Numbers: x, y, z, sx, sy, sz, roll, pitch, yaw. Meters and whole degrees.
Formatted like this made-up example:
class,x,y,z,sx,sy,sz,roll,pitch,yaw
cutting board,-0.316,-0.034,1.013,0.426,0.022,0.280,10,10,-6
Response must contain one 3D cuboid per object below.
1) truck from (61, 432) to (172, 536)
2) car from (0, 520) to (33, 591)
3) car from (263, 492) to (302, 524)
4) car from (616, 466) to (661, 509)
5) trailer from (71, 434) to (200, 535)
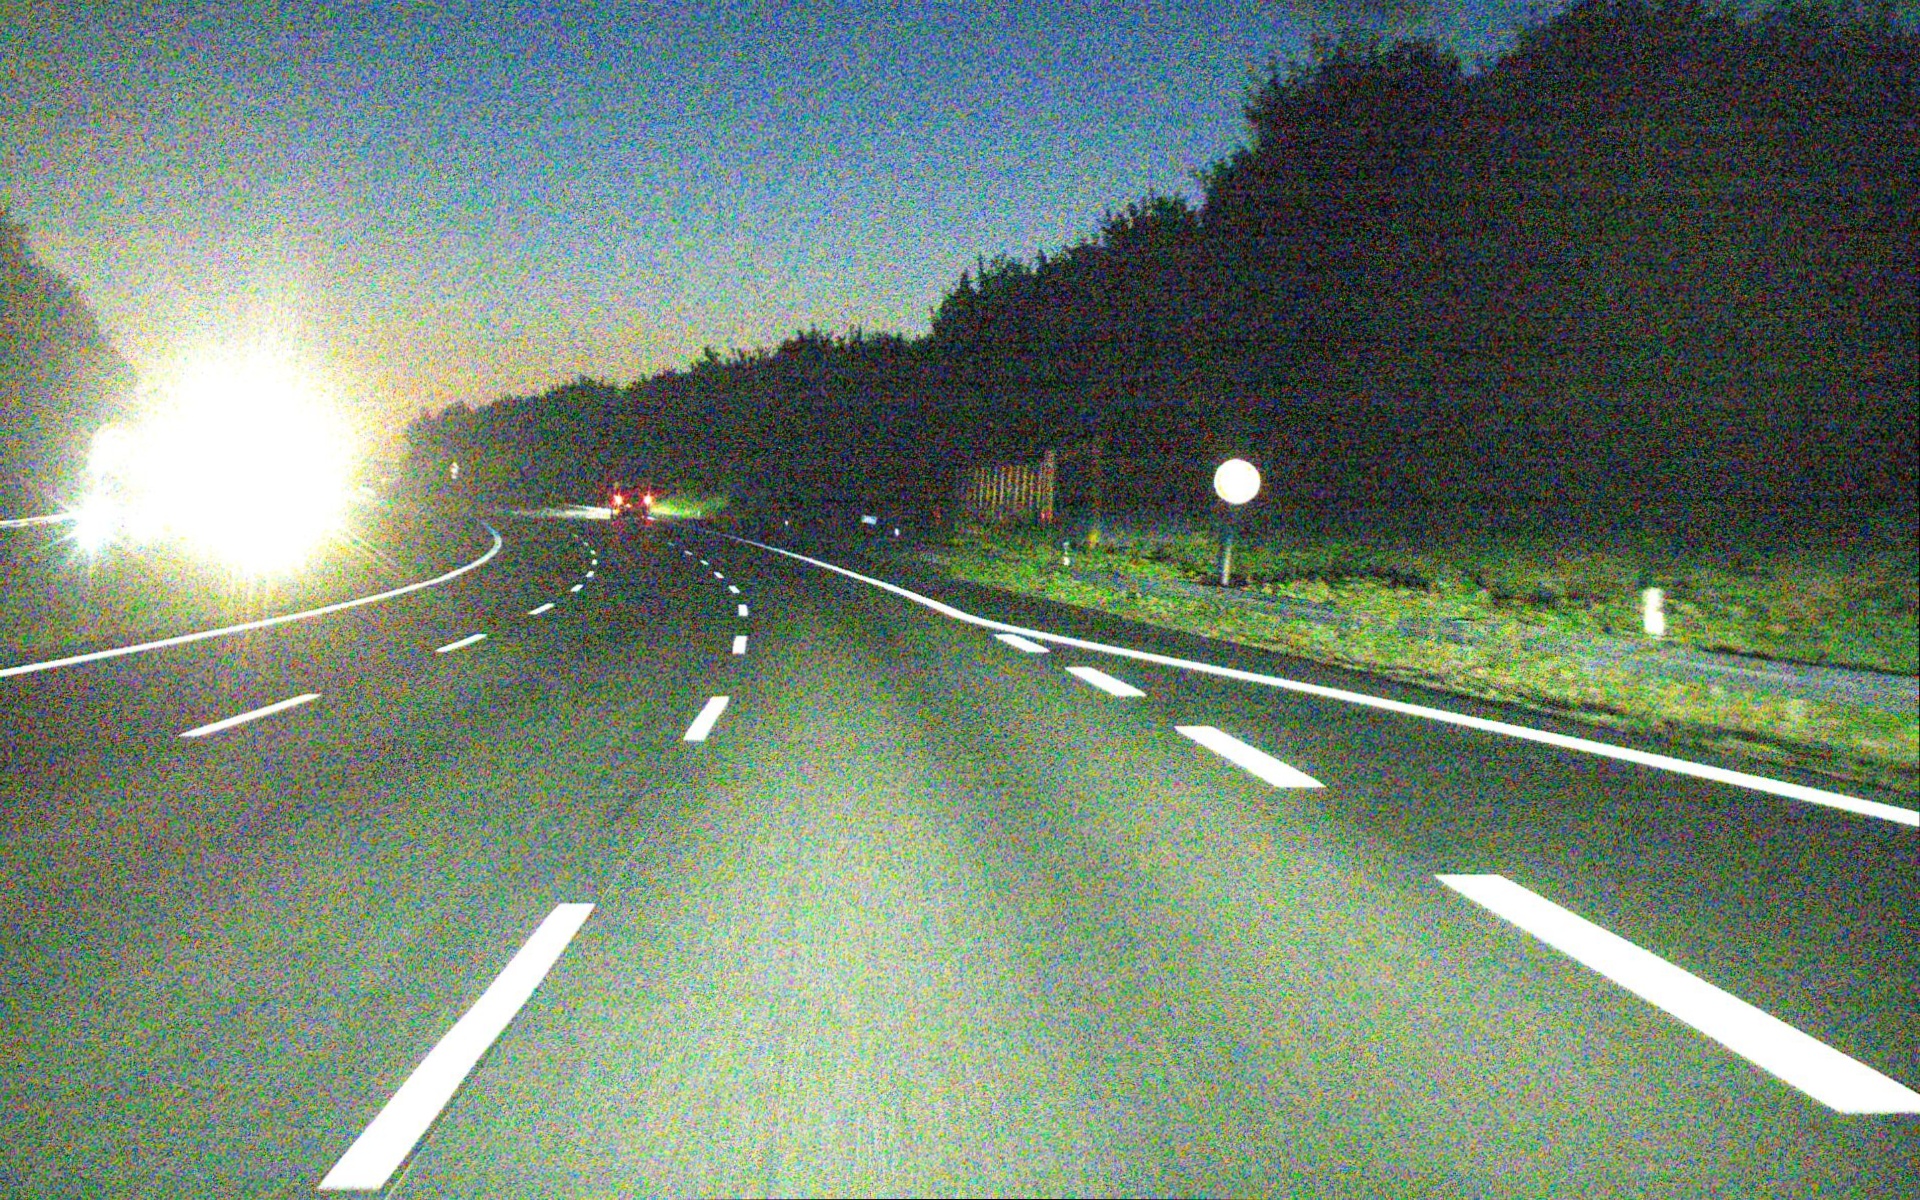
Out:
class,x,y,z,sx,sy,sz,roll,pitch,yaw
truck,-34.317,-4.712,140.084,3.589,4.085,5.995,0,2,-5
car,-21.491,-0.971,74.292,1.993,1.503,4.001,0,1,-2
car,-38.002,-5.175,192.893,1.993,1.720,4.078,0,2,-10
car,-20.140,-7.043,215.165,2.527,2.544,6.053,3,2,-7
trailer,-35.054,-4.912,146.745,3.598,4.076,14.128,0,2,-6
